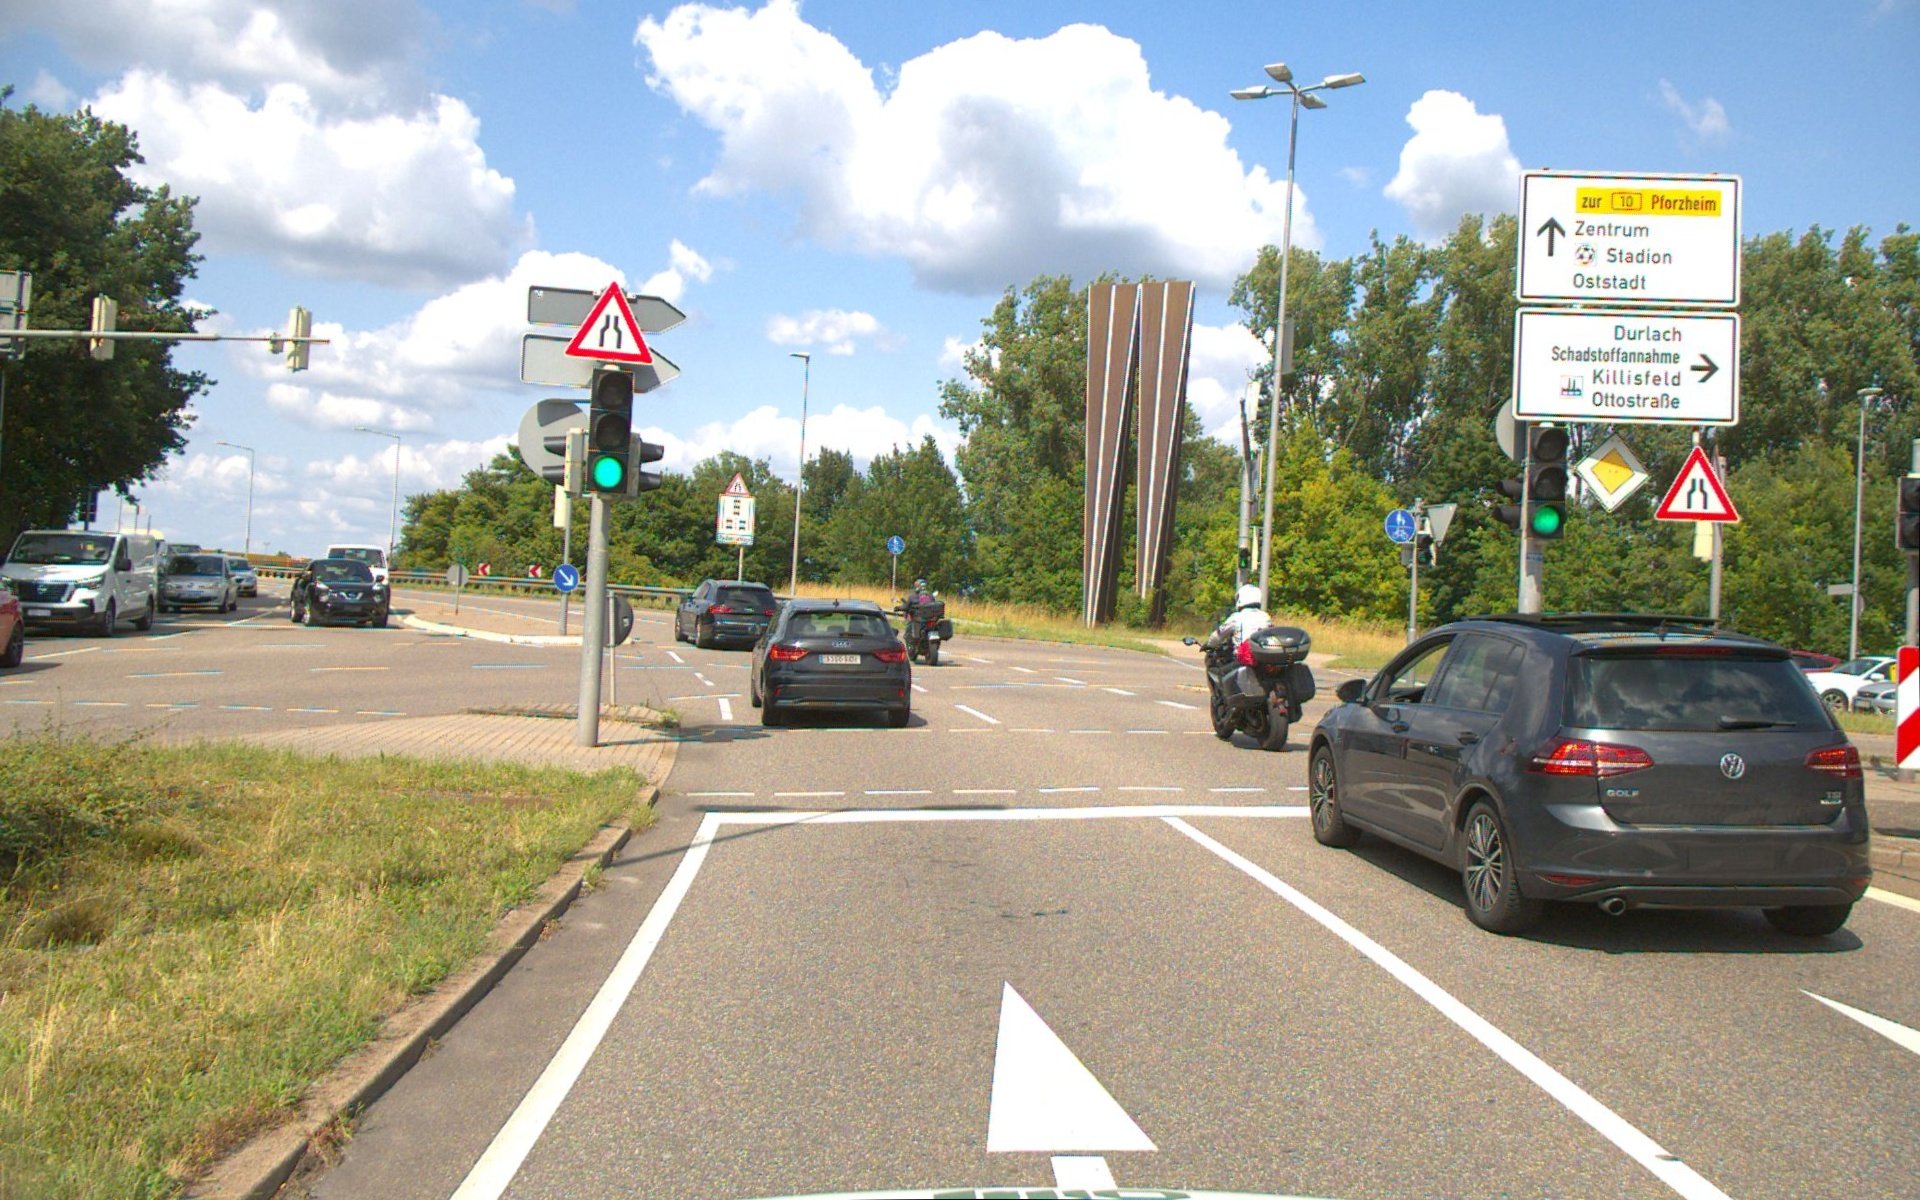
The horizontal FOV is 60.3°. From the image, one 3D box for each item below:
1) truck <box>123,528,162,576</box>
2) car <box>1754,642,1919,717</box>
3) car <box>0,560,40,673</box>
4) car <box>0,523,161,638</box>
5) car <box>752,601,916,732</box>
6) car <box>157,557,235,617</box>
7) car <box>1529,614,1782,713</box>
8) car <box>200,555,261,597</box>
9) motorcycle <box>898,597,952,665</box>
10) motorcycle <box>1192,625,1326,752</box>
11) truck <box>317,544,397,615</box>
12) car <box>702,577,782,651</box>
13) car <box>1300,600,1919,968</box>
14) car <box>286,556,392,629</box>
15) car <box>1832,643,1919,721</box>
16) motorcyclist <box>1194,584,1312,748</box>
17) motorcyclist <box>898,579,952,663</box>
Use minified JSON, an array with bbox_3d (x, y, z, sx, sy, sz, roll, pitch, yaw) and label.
[{"bbox_3d":[-47.846,-2.826,96.724,1.970,2.666,6.050,0,2,-27],"label":"truck"},{"bbox_3d":[20.159,1.793,36.815,4.118,1.399,1.646,4,1,-2],"label":"car"},{"bbox_3d":[-13.033,0.206,20.857,1.555,1.457,3.984,1,0,-15],"label":"car"},{"bbox_3d":[-16.974,-0.358,31.980,1.962,2.049,5.111,0,0,-17],"label":"car"},{"bbox_3d":[-1.604,0.735,19.945,1.651,1.412,3.731,1,0,-9],"label":"car"},{"bbox_3d":[-20.743,-0.378,45.014,1.709,1.547,4.041,0,1,-22],"label":"car"},{"bbox_3d":[13.747,1.243,32.841,4.195,1.645,1.844,4,-1,-2],"label":"car"},{"bbox_3d":[-27.640,-0.913,62.609,1.664,1.504,4.666,0,1,-30],"label":"car"},{"bbox_3d":[-0.732,0.603,33.549,0.870,1.269,2.396,2,0,-6],"label":"motorcycle"},{"bbox_3d":[3.095,0.886,17.356,0.773,1.151,2.397,2,0,-4],"label":"motorcycle"},{"bbox_3d":[-17.845,-0.637,48.808,1.933,1.946,5.334,2,1,-22],"label":"truck"},{"bbox_3d":[-4.835,0.280,36.578,1.612,1.504,3.865,2,0,-8],"label":"car"},{"bbox_3d":[3.172,0.785,8.912,1.610,1.504,3.869,2,0,-4],"label":"car"},{"bbox_3d":[-14.736,-0.202,39.145,1.680,1.584,3.783,2,1,-31],"label":"car"},{"bbox_3d":[20.040,1.730,32.940,4.437,1.399,1.646,4,1,-2],"label":"car"},{"bbox_3d":[3.095,0.676,17.568,0.947,1.648,1.124,2,0,-4],"label":"motorcyclist"},{"bbox_3d":[-0.720,0.421,33.535,0.947,1.624,1.123,2,0,-6],"label":"motorcyclist"}]
